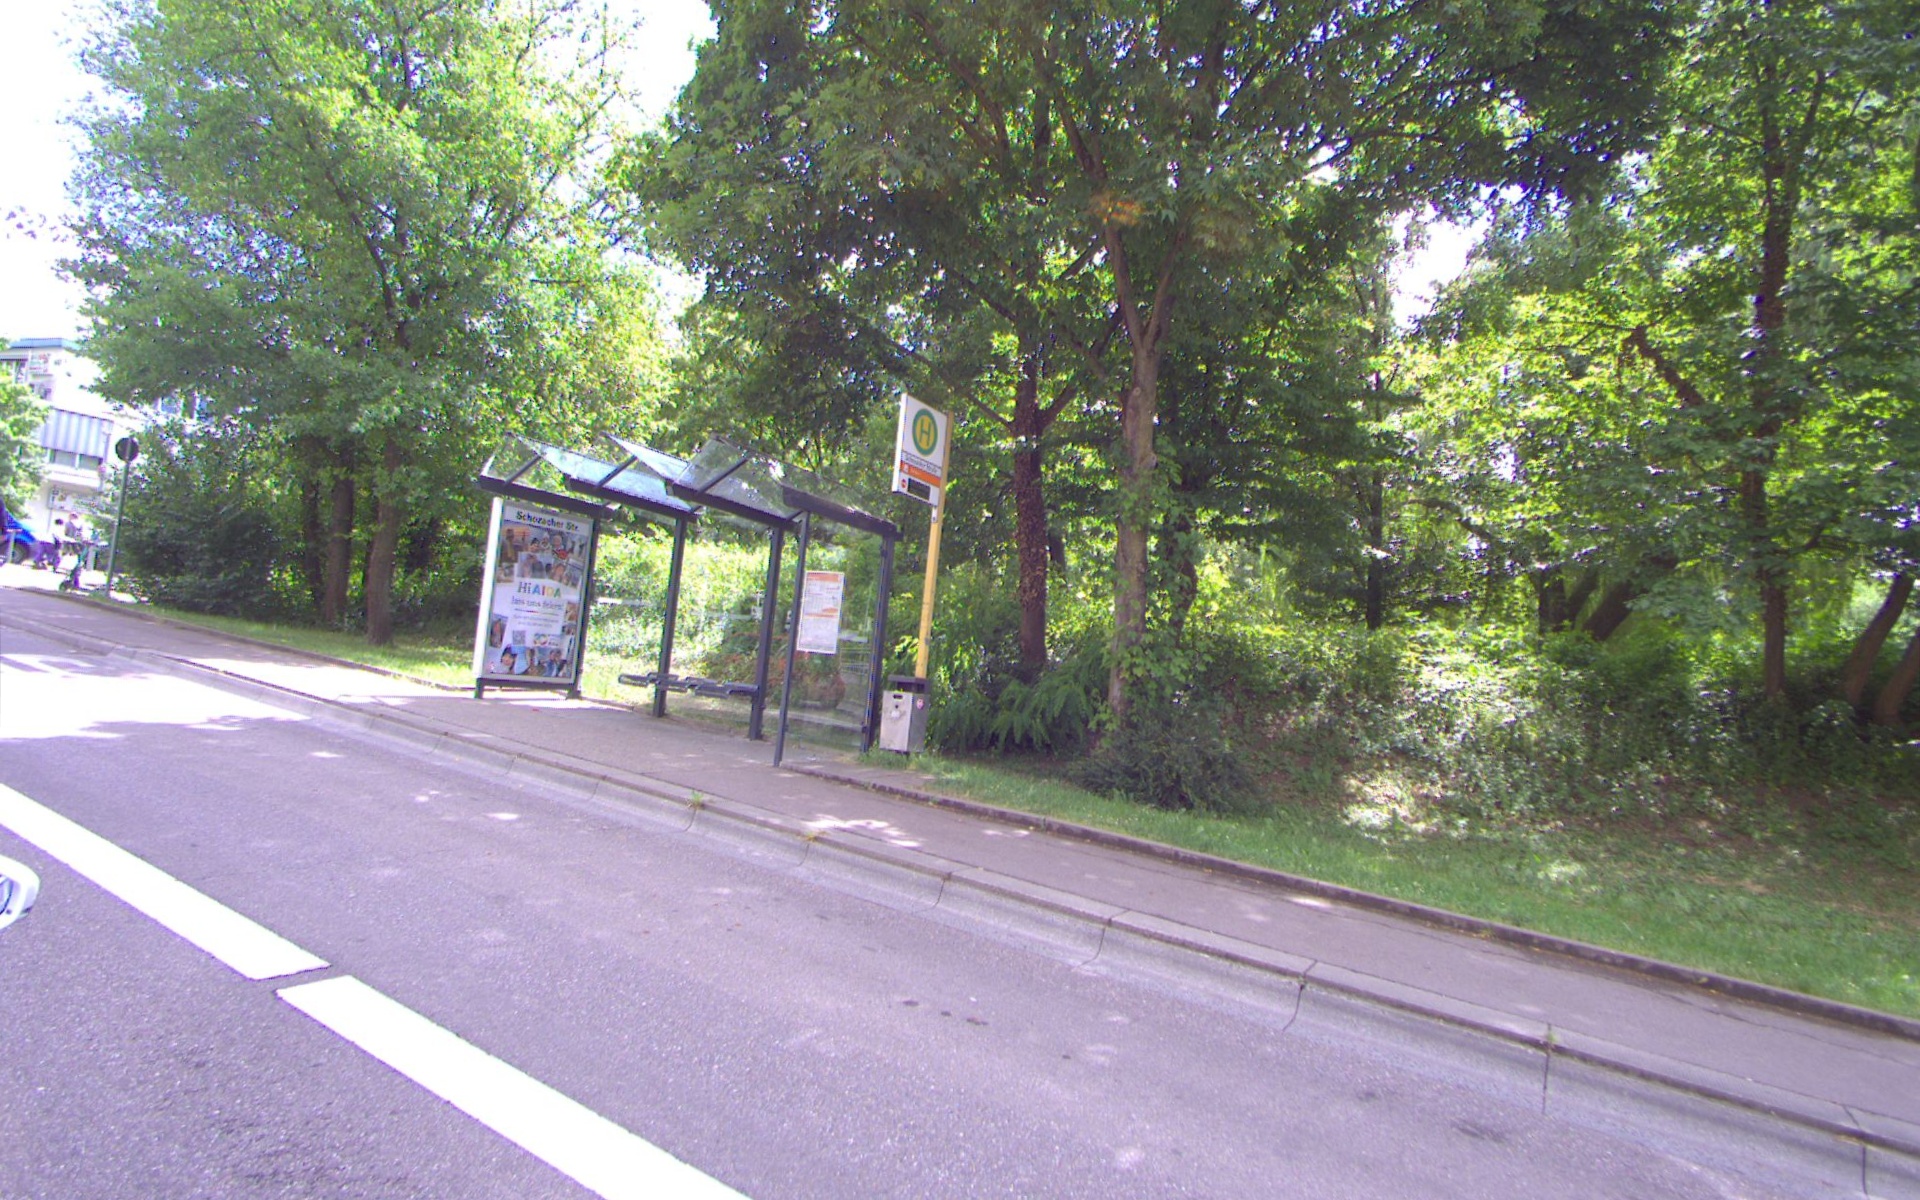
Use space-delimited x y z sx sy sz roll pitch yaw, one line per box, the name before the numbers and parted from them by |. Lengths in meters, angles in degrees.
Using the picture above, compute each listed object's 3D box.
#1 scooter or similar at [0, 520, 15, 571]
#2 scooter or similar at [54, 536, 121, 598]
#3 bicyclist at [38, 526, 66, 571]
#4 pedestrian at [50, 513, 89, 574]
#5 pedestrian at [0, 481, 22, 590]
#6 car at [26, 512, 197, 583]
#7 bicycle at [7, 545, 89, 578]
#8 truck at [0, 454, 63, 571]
scooter or similar | -24.923 -1.468 25.537 0.546 1.286 1.153 6 -3 34
scooter or similar | -20.248 -0.762 23.361 0.447 1.242 0.893 6 -6 32
bicyclist | -25.089 -1.433 27.802 0.397 1.169 0.497 10 -3 -38
pedestrian | -26.491 -1.674 29.927 0.653 1.733 0.457 8 -1 -35
pedestrian | -17.442 -1.205 17.850 0.997 1.898 0.796 6 -1 35
car | -32.862 -1.987 39.148 1.964 2.037 4.550 6 -2 24
bicycle | -25.168 -1.061 27.783 1.580 0.616 0.529 12 -4 -38
truck | -31.065 -3.026 28.909 2.559 3.387 7.298 7 -2 20
